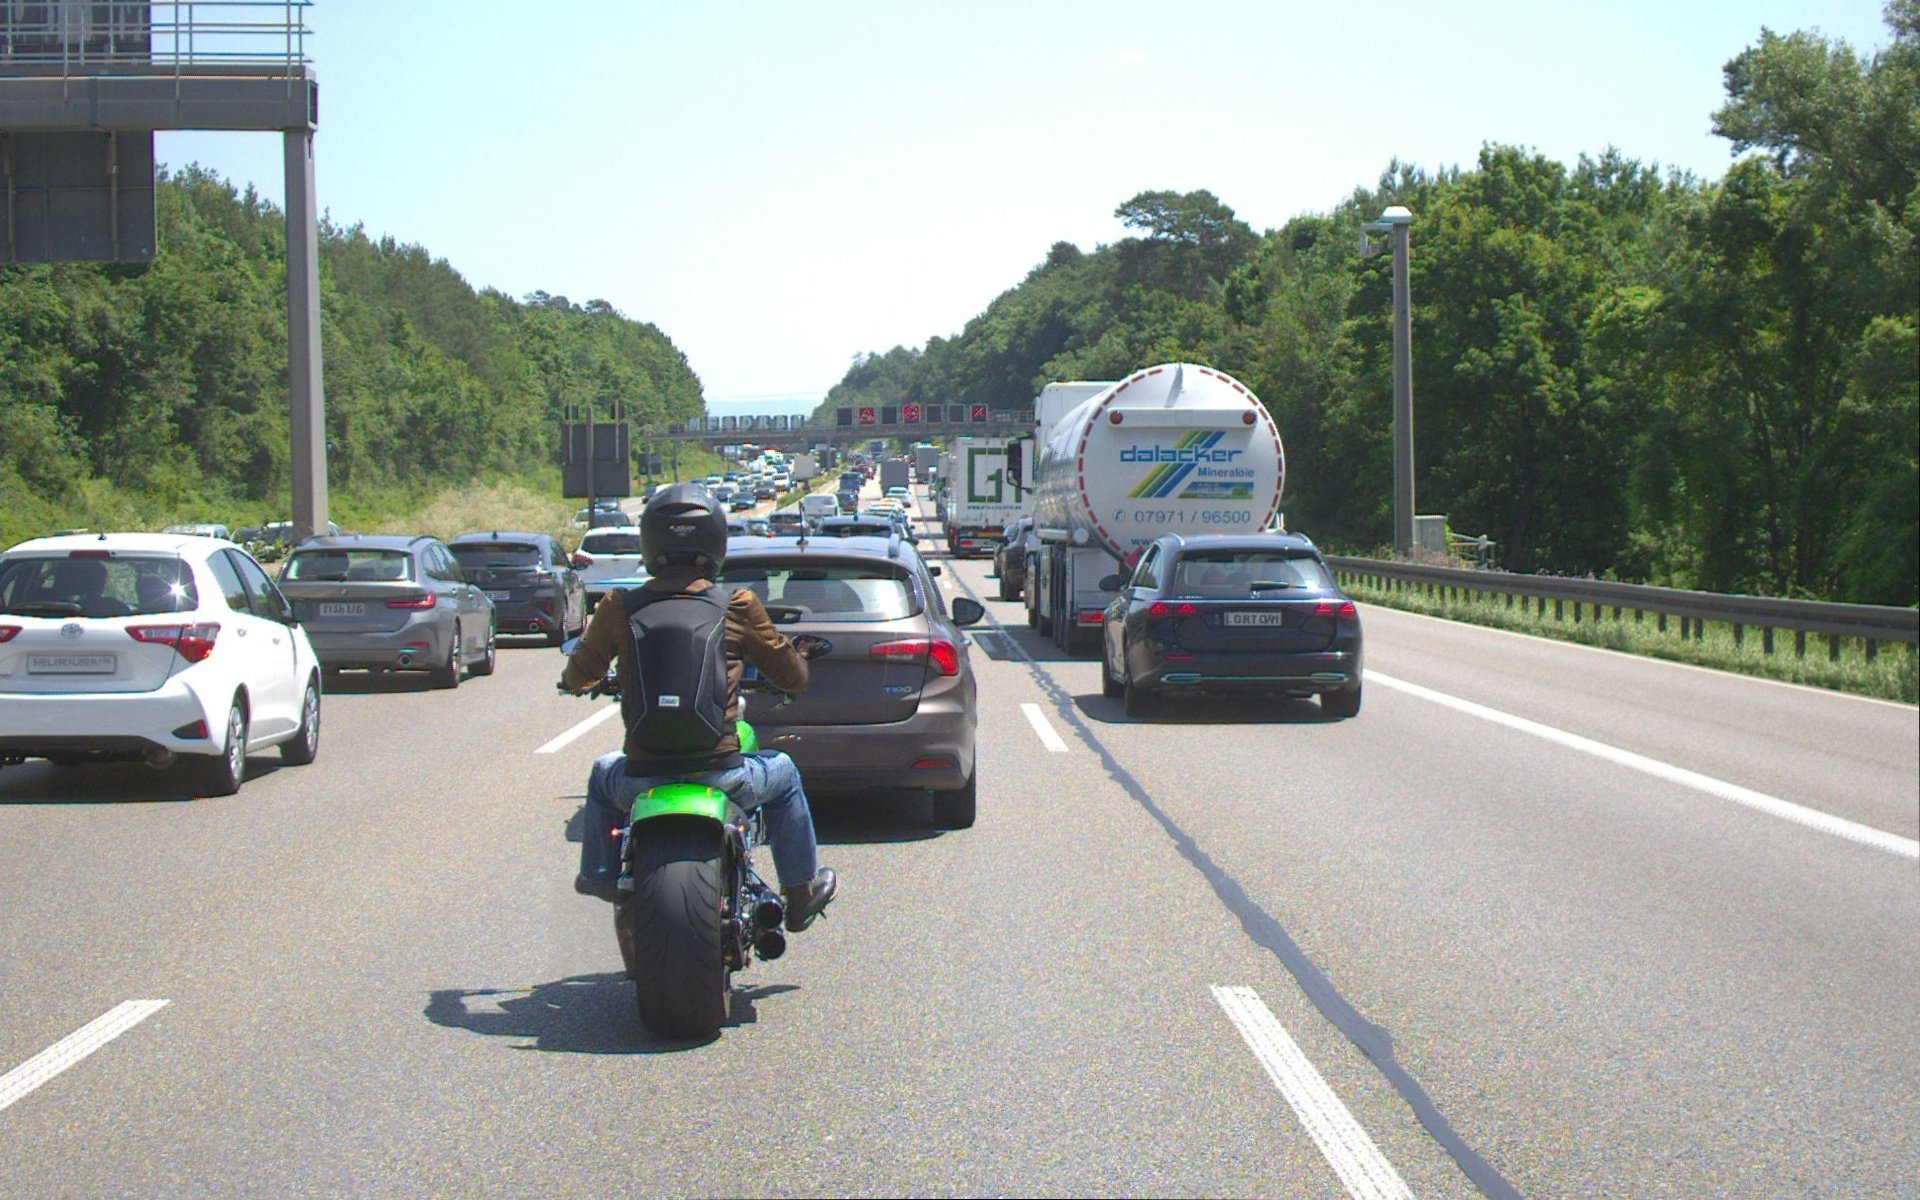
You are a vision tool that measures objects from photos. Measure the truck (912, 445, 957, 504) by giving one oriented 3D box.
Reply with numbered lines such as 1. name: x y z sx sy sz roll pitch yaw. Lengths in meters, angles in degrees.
1. truck: -1.621 -7.766 214.103 2.696 3.394 10.479 -1 1 -1

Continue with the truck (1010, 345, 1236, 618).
1. truck: 2.252 -1.609 49.578 2.828 3.658 6.430 0 0 -1

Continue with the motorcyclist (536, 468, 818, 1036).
1. motorcyclist: -0.859 0.450 10.702 0.799 1.682 1.016 0 0 -1

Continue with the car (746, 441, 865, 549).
1. car: -2.660 -1.798 59.948 1.993 1.769 4.000 0 0 -2

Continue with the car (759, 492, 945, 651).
1. car: -1.228 -0.309 39.043 1.993 1.705 4.000 0 0 -2

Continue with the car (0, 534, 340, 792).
1. car: -4.977 0.339 20.829 1.776 1.406 4.000 0 0 -1

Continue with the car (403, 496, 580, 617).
1. car: -5.954 -0.537 44.036 1.993 1.459 4.001 0 0 -4

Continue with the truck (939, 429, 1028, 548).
1. truck: 0.852 -3.735 117.219 2.854 3.808 7.187 0 0 2

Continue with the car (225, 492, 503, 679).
1. car: -5.671 -0.134 33.245 1.993 1.678 4.330 0 0 -1

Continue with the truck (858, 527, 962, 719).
1. truck: -1.345 0.429 86.306 2.388 4.448 10.870 0 2 -2

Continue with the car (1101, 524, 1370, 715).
1. car: 2.209 0.144 28.679 1.792 1.453 4.624 0 0 -1

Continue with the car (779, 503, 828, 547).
1. car: -5.827 -2.769 128.042 1.660 1.594 4.000 0 1 0

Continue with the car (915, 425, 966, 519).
1. car: -0.927 -5.687 154.823 2.167 3.879 9.330 0 0 -1

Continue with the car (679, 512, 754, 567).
1. car: -6.546 -1.644 92.653 1.764 1.437 4.000 0 1 0

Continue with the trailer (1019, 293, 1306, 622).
1. trailer: 2.359 -1.607 43.801 2.828 3.658 10.733 0 0 -1

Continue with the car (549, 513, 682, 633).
1. car: -5.964 -0.460 59.885 1.993 2.007 4.000 0 0 -1

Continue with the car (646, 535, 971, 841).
1. car: -0.753 0.386 18.360 1.541 1.445 4.000 0 1 -1

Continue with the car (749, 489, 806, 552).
1. car: -5.863 -2.533 110.794 1.660 1.971 4.000 0 1 0

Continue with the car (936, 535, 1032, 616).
1. car: 0.444 -0.467 67.042 1.776 1.522 4.000 0 0 -1

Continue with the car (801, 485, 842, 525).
1. car: -7.125 -4.873 176.842 1.993 2.007 4.000 -1 1 -1

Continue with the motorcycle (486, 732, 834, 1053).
1. motorcycle: -0.896 0.876 10.923 0.936 0.790 2.299 0 1 -1
